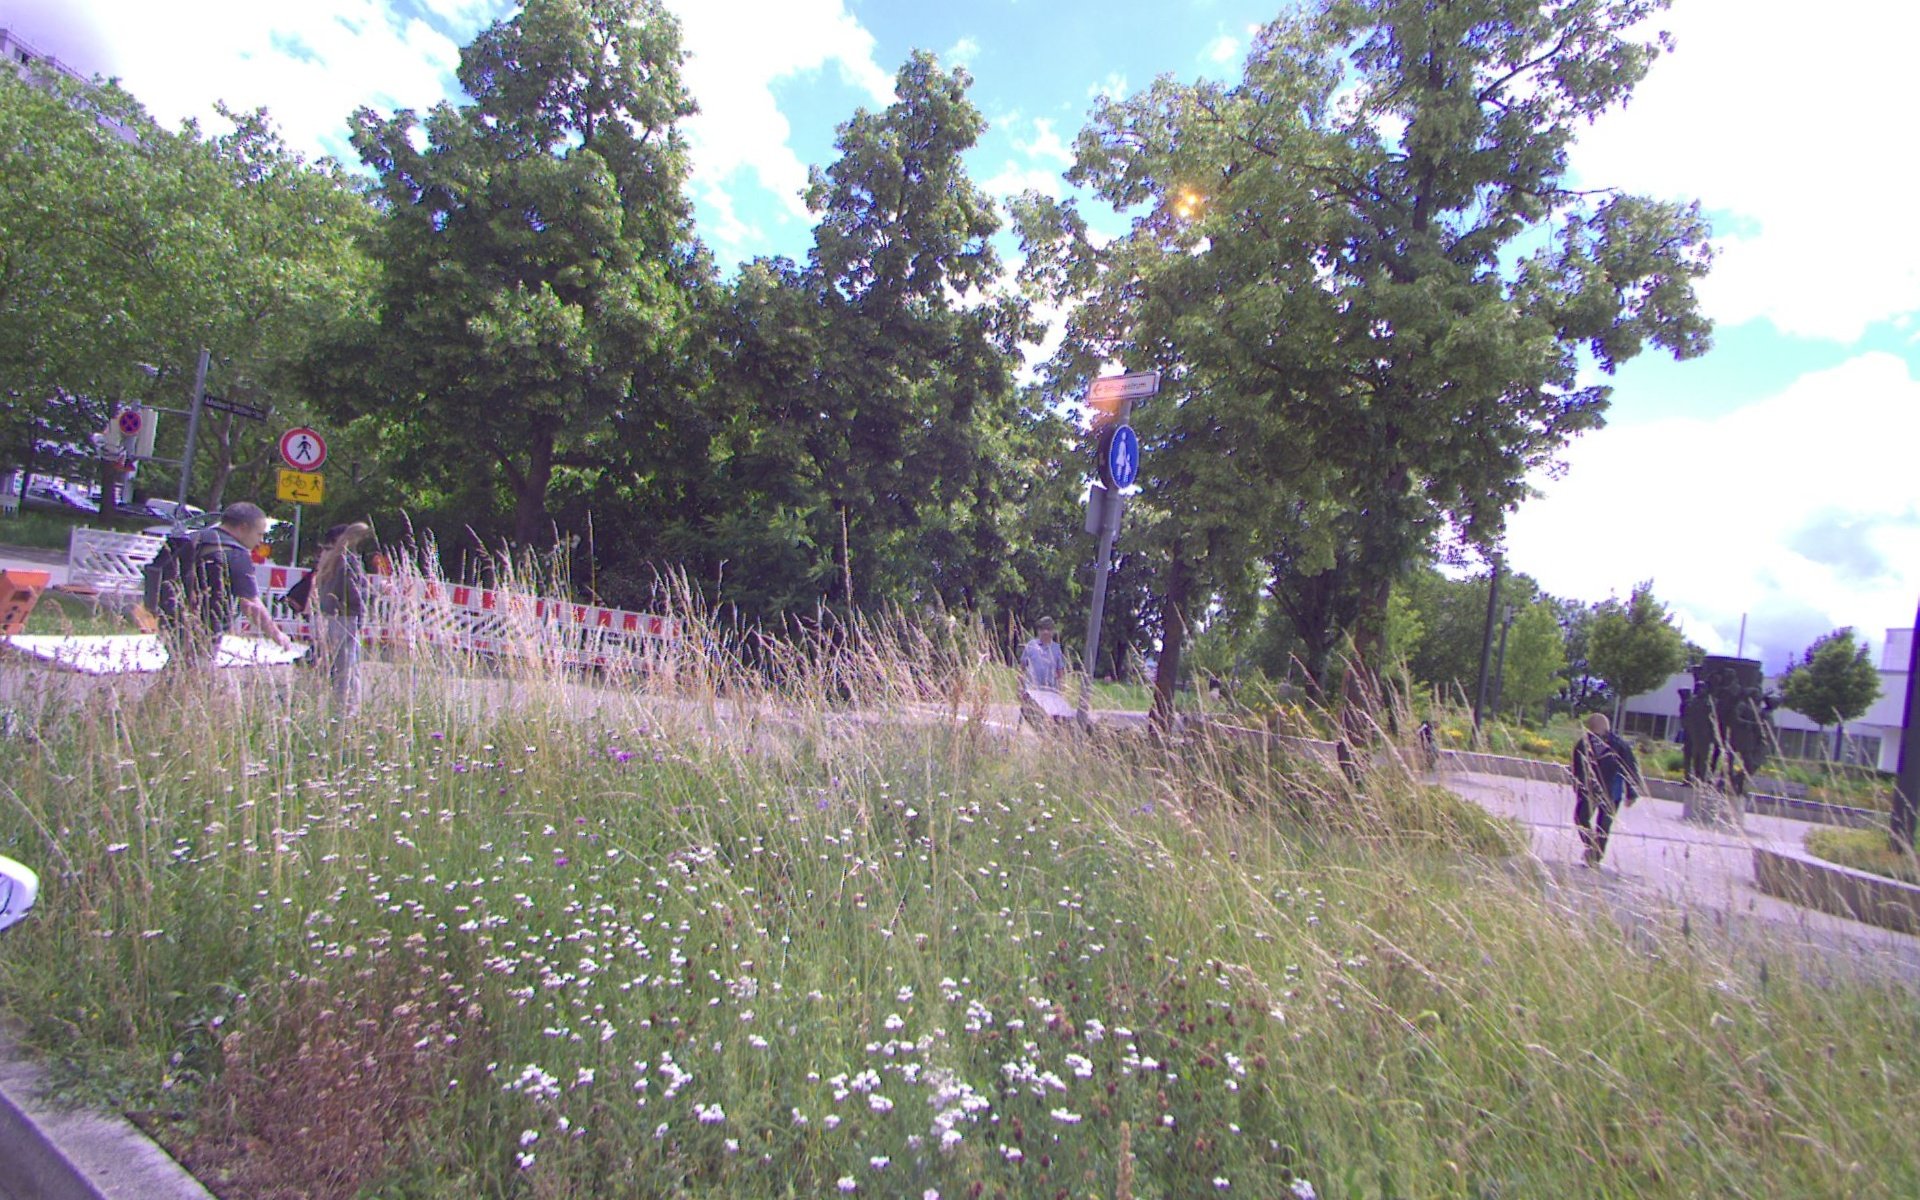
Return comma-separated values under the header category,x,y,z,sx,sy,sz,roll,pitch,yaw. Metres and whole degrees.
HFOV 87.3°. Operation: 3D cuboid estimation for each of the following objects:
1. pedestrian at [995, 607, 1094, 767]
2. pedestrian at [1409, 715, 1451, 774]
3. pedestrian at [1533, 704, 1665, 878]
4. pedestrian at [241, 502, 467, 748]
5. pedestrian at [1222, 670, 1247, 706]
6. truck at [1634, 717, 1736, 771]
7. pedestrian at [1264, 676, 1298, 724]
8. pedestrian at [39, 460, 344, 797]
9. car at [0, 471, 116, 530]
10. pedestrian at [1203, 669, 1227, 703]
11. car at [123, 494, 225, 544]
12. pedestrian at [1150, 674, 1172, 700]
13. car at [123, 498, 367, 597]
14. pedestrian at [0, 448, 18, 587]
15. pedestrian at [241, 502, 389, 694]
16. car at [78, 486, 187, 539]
category,x,y,z,sx,sy,sz,roll,pitch,yaw
pedestrian,1.047,1.071,12.586,0.761,1.862,0.761,8,-1,-20
pedestrian,10.810,3.310,23.136,0.623,1.236,0.618,7,-1,36
pedestrian,6.698,1.986,10.554,0.757,1.644,0.765,8,-1,-33
pedestrian,-4.574,0.199,7.626,0.915,1.667,1.021,7,-1,35
pedestrian,14.620,4.694,53.618,0.879,1.732,0.817,8,-1,30
truck,37.326,7.390,51.928,1.965,2.037,3.999,8,-1,-4
pedestrian,15.164,4.716,47.457,1.137,2.037,0.817,8,0,30
pedestrian,-4.283,0.155,5.643,0.866,1.667,0.960,7,-1,32
car,-43.686,-4.777,48.568,3.926,2.037,2.001,8,-1,0
pedestrian,13.699,4.611,54.014,0.872,1.681,0.817,8,-1,30
car,-44.236,-4.529,56.687,3.926,2.037,2.001,8,-1,0
pedestrian,13.888,6.004,69.621,1.135,1.571,0.818,8,-1,-2
car,-19.707,-1.386,28.051,1.915,1.895,5.090,7,-2,28
pedestrian,-7.907,-0.342,7.451,0.914,1.794,1.004,7,-1,32
pedestrian,-6.408,-0.013,10.010,0.815,1.763,0.783,7,-1,32
car,-43.781,-4.601,53.284,3.926,2.037,2.001,8,-1,0
